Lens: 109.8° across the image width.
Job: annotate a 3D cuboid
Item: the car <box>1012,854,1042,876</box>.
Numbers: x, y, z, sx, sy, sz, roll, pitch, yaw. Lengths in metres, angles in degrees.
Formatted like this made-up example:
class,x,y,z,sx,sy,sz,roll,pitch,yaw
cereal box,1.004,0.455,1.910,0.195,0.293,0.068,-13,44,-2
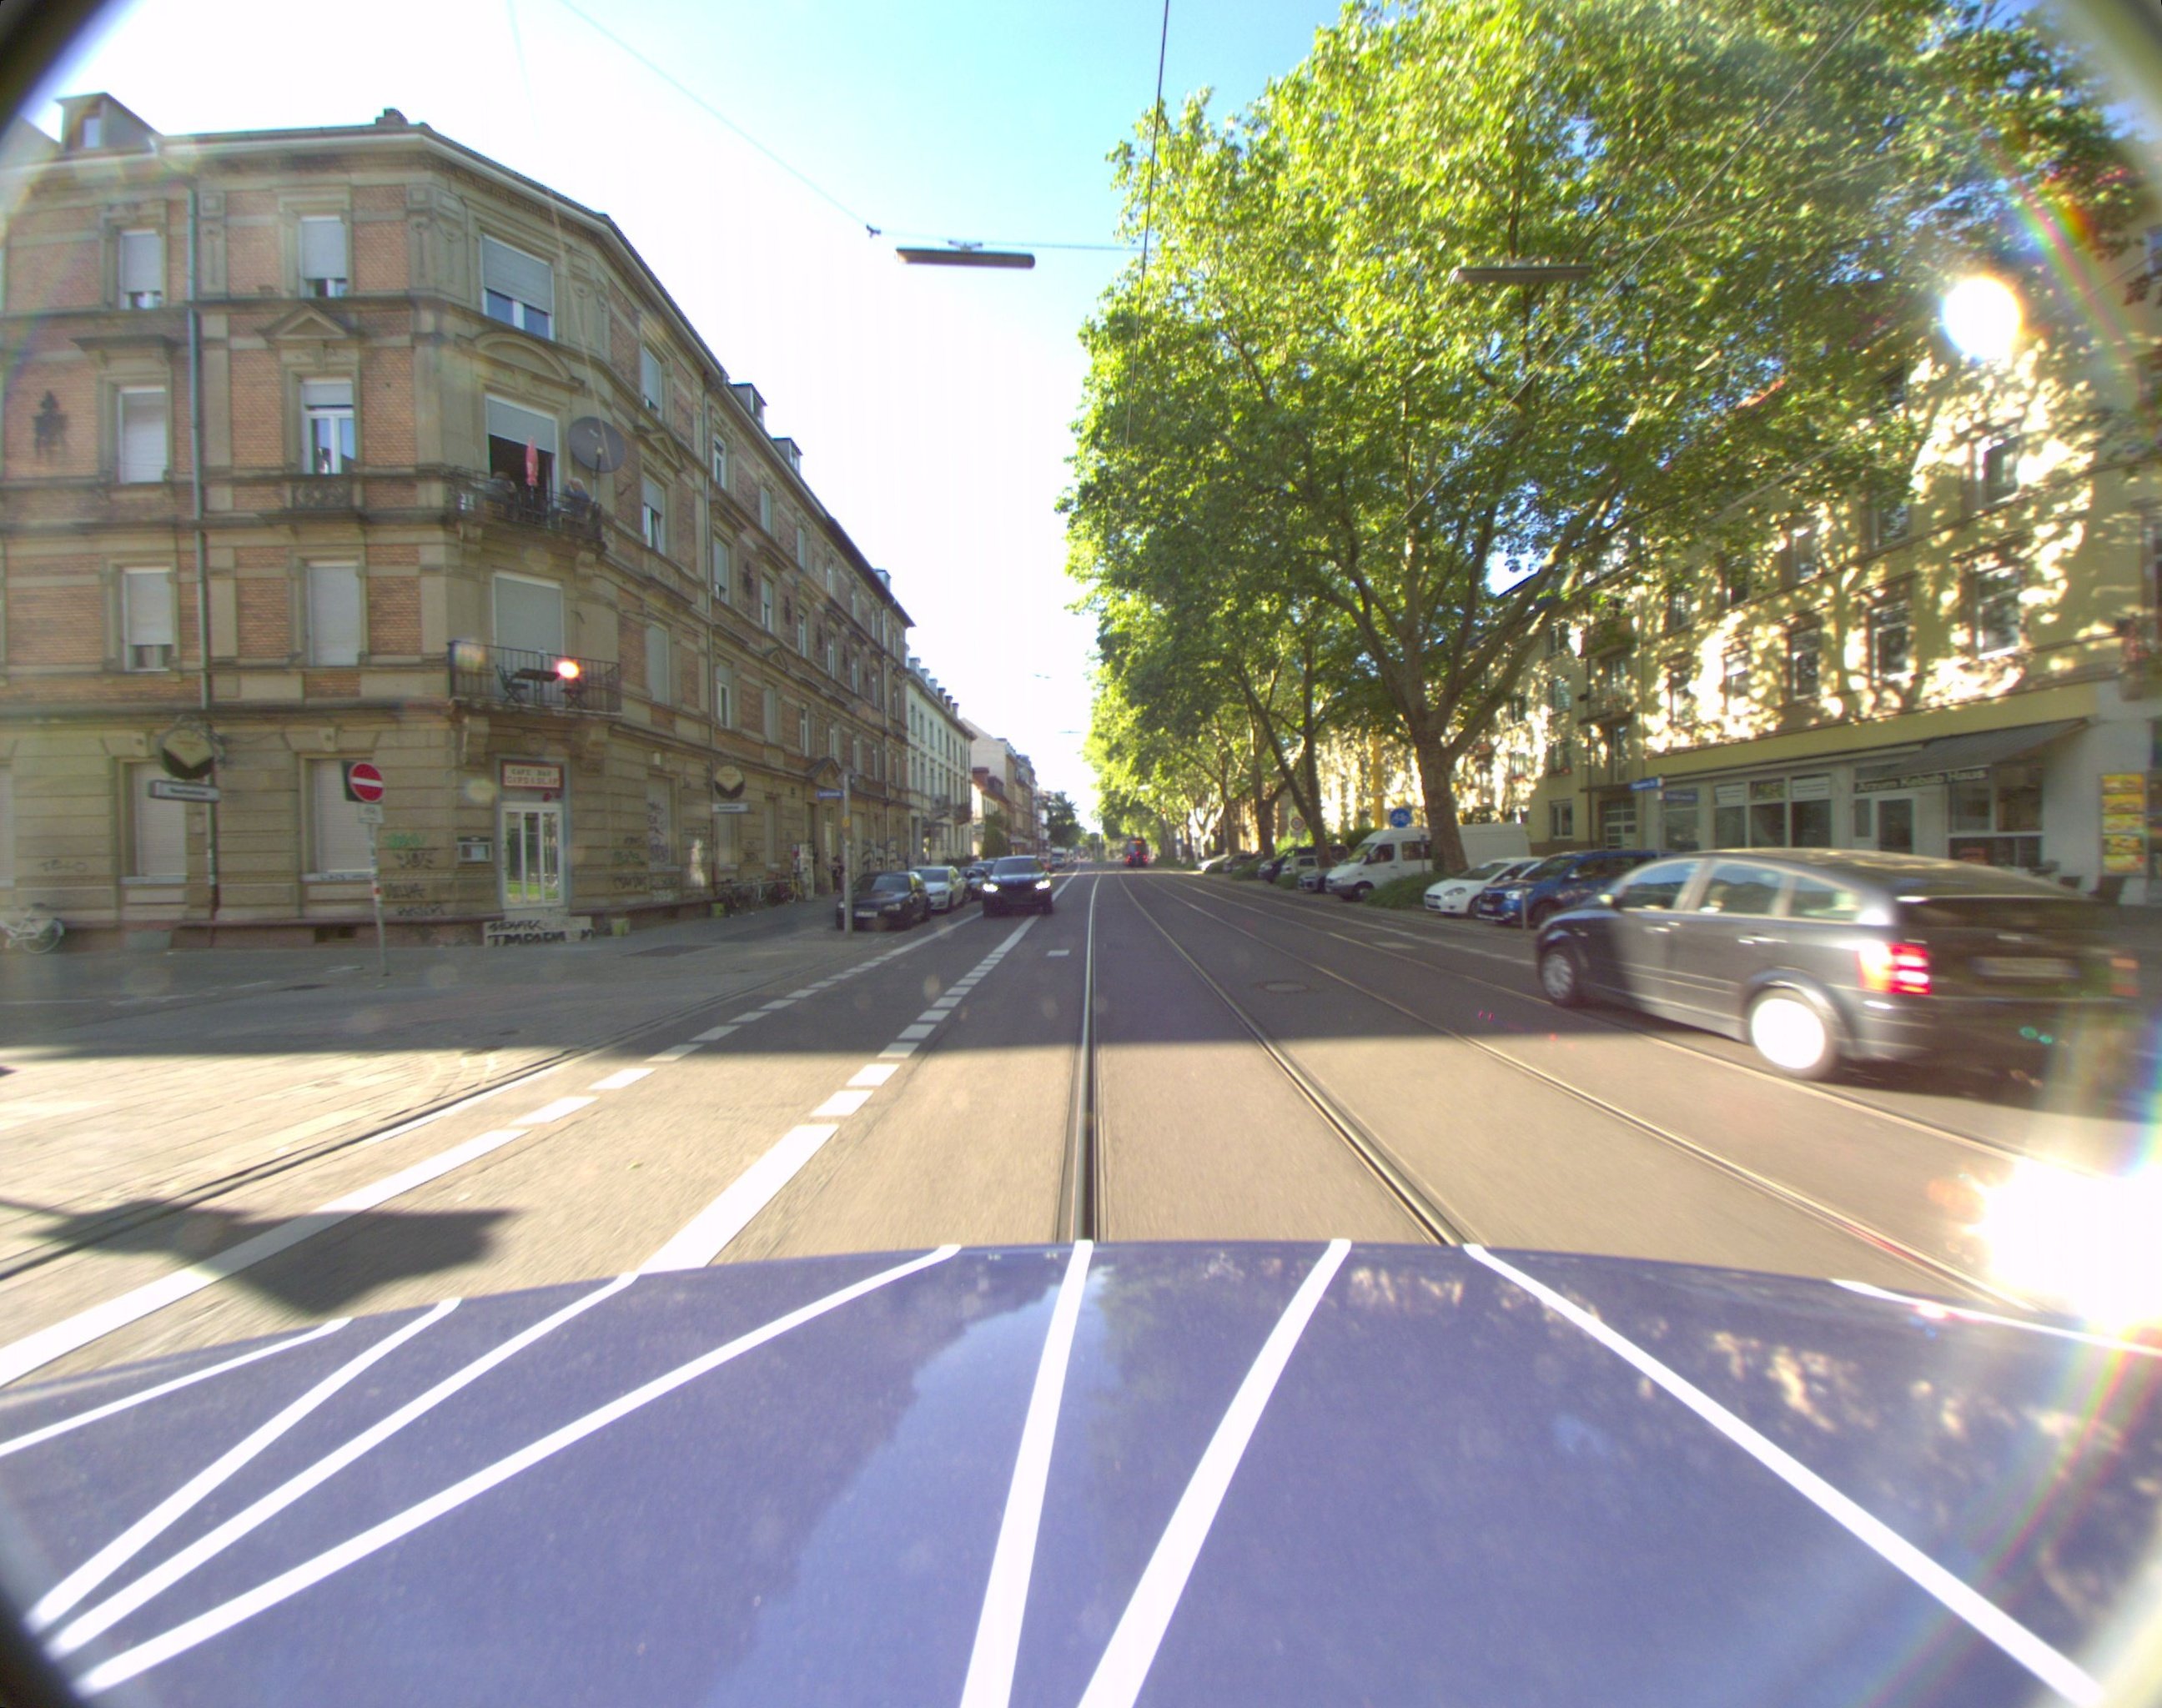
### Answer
class,x,y,z,sx,sy,sz,roll,pitch,yaw
car,-3.988,0.781,56.347,1.729,1.497,3.907,3,1,2

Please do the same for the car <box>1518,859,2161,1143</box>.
class,x,y,z,sx,sy,sz,roll,pitch,yaw
car,5.345,0.812,5.970,1.639,1.501,3.691,1,0,-1

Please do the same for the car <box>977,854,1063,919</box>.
class,x,y,z,sx,sy,sz,roll,pitch,yaw
car,-1.722,0.929,23.071,1.948,1.694,4.632,-2,-1,3

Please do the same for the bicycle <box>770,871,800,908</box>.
class,x,y,z,sx,sy,sz,roll,pitch,yaw
bicycle,-9.746,1.142,25.059,0.379,1.147,1.372,-1,0,3

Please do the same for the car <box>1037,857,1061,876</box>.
class,x,y,z,sx,sy,sz,roll,pitch,yaw
car,-2.724,1.022,65.317,1.729,1.559,3.686,0,0,2

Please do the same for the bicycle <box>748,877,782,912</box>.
class,x,y,z,sx,sy,sz,roll,pitch,yaw
bicycle,-9.716,1.229,23.408,0.379,0.995,1.372,-1,0,3

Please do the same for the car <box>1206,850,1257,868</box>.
class,x,y,z,sx,sy,sz,roll,pitch,yaw
car,13.060,0.449,66.013,3.998,1.422,1.601,-1,1,-2

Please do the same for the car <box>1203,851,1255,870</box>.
class,x,y,z,sx,sy,sz,roll,pitch,yaw
car,12.353,0.521,63.611,3.998,1.422,1.528,-1,1,-2

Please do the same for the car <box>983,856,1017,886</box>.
class,x,y,z,sx,sy,sz,roll,pitch,yaw
car,-4.396,0.889,41.572,1.514,1.534,2.821,0,1,1

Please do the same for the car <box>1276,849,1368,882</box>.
class,x,y,z,sx,sy,sz,roll,pitch,yaw
car,12.170,0.589,38.571,4.068,1.437,1.869,-3,0,1

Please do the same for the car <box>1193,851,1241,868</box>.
class,x,y,z,sx,sy,sz,roll,pitch,yaw
car,12.332,0.487,69.047,3.998,1.367,1.411,-1,1,-2

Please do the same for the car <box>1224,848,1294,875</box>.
class,x,y,z,sx,sy,sz,roll,pitch,yaw
car,12.354,0.504,52.910,4.365,1.603,2.000,-3,0,1

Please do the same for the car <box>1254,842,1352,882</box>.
class,x,y,z,sx,sy,sz,roll,pitch,yaw
car,11.961,0.414,41.130,4.639,1.896,1.922,-3,0,0

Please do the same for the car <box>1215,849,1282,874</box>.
class,x,y,z,sx,sy,sz,roll,pitch,yaw
car,12.157,0.551,55.253,4.365,1.603,2.000,-3,0,1

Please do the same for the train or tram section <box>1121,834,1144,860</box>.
class,x,y,z,sx,sy,sz,roll,pitch,yaw
train or tram section,7.791,-1.114,116.211,2.944,3.598,12.410,-3,1,2

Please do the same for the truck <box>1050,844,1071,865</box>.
class,x,y,z,sx,sy,sz,roll,pitch,yaw
truck,-3.211,0.014,121.508,2.842,3.145,7.292,-3,1,1

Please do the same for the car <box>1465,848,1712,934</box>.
class,x,y,z,sx,sy,sz,roll,pitch,yaw
car,11.137,0.771,16.872,4.331,1.702,1.816,-1,0,-2

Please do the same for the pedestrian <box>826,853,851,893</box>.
class,x,y,z,sx,sy,sz,roll,pitch,yaw
pedestrian,-10.084,0.775,31.602,0.716,1.647,0.766,-1,1,0

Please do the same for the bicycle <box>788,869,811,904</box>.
class,x,y,z,sx,sy,sz,roll,pitch,yaw
bicycle,-9.761,1.119,26.355,0.274,1.147,1.139,-1,1,3

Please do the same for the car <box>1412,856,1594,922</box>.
class,x,y,z,sx,sy,sz,roll,pitch,yaw
car,10.771,0.855,19.540,3.780,1.509,1.747,-1,0,-6

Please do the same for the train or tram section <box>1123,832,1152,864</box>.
class,x,y,z,sx,sy,sz,roll,pitch,yaw
train or tram section,6.845,-0.779,93.216,2.944,3.598,11.062,-3,1,2

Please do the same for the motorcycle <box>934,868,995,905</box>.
class,x,y,z,sx,sy,sz,roll,pitch,yaw
motorcycle,-4.388,1.209,28.601,2.143,1.281,0.642,-2,1,-21

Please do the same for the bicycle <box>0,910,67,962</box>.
class,x,y,z,sx,sy,sz,roll,pitch,yaw
bicycle,-20.466,1.581,14.624,1.371,0.955,0.379,-1,1,1

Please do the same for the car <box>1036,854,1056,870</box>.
class,x,y,z,sx,sy,sz,roll,pitch,yaw
car,-3.545,0.816,76.558,1.702,1.559,3.686,0,0,2

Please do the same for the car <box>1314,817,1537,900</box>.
class,x,y,z,sx,sy,sz,roll,pitch,yaw
car,11.689,0.165,26.124,6.618,2.393,2.000,-3,0,1

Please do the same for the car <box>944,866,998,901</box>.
class,x,y,z,sx,sy,sz,roll,pitch,yaw
car,-4.461,1.170,31.259,1.653,1.265,3.724,1,1,1

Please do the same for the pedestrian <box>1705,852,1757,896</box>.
class,x,y,z,sx,sy,sz,roll,pitch,yaw
pedestrian,18.501,0.554,21.635,0.708,1.234,0.930,-1,1,3

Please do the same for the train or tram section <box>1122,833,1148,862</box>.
class,x,y,z,sx,sy,sz,roll,pitch,yaw
train or tram section,7.311,-0.931,104.370,2.944,3.598,11.259,-3,1,2

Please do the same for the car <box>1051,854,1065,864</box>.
class,x,y,z,sx,sy,sz,roll,pitch,yaw
car,-3.173,0.739,106.817,1.702,1.324,3.686,0,0,2

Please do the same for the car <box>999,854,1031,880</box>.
class,x,y,z,sx,sy,sz,roll,pitch,yaw
car,-4.247,0.804,49.585,1.635,1.497,3.907,3,1,1

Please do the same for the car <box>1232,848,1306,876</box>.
class,x,y,z,sx,sy,sz,roll,pitch,yaw
car,12.362,0.529,50.157,4.365,1.603,2.000,-3,0,1

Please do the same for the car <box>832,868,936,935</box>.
class,x,y,z,sx,sy,sz,roll,pitch,yaw
car,-4.899,1.126,19.424,1.653,1.412,4.059,1,1,-1

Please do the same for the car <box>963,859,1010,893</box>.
class,x,y,z,sx,sy,sz,roll,pitch,yaw
car,-4.501,1.005,36.466,1.610,1.444,3.741,1,1,3

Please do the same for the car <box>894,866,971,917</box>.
class,x,y,z,sx,sy,sz,roll,pitch,yaw
car,-4.718,1.140,24.684,1.606,1.412,4.013,1,1,1

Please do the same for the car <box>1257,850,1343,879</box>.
class,x,y,z,sx,sy,sz,roll,pitch,yaw
car,12.419,0.587,43.323,4.365,1.400,1.658,-3,0,1

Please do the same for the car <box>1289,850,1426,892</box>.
class,x,y,z,sx,sy,sz,roll,pitch,yaw
car,11.409,0.677,31.598,4.943,1.437,2.000,-3,0,1

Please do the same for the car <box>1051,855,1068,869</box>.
class,x,y,z,sx,sy,sz,roll,pitch,yaw
car,-2.417,0.894,87.897,1.702,1.559,3.686,0,0,2
